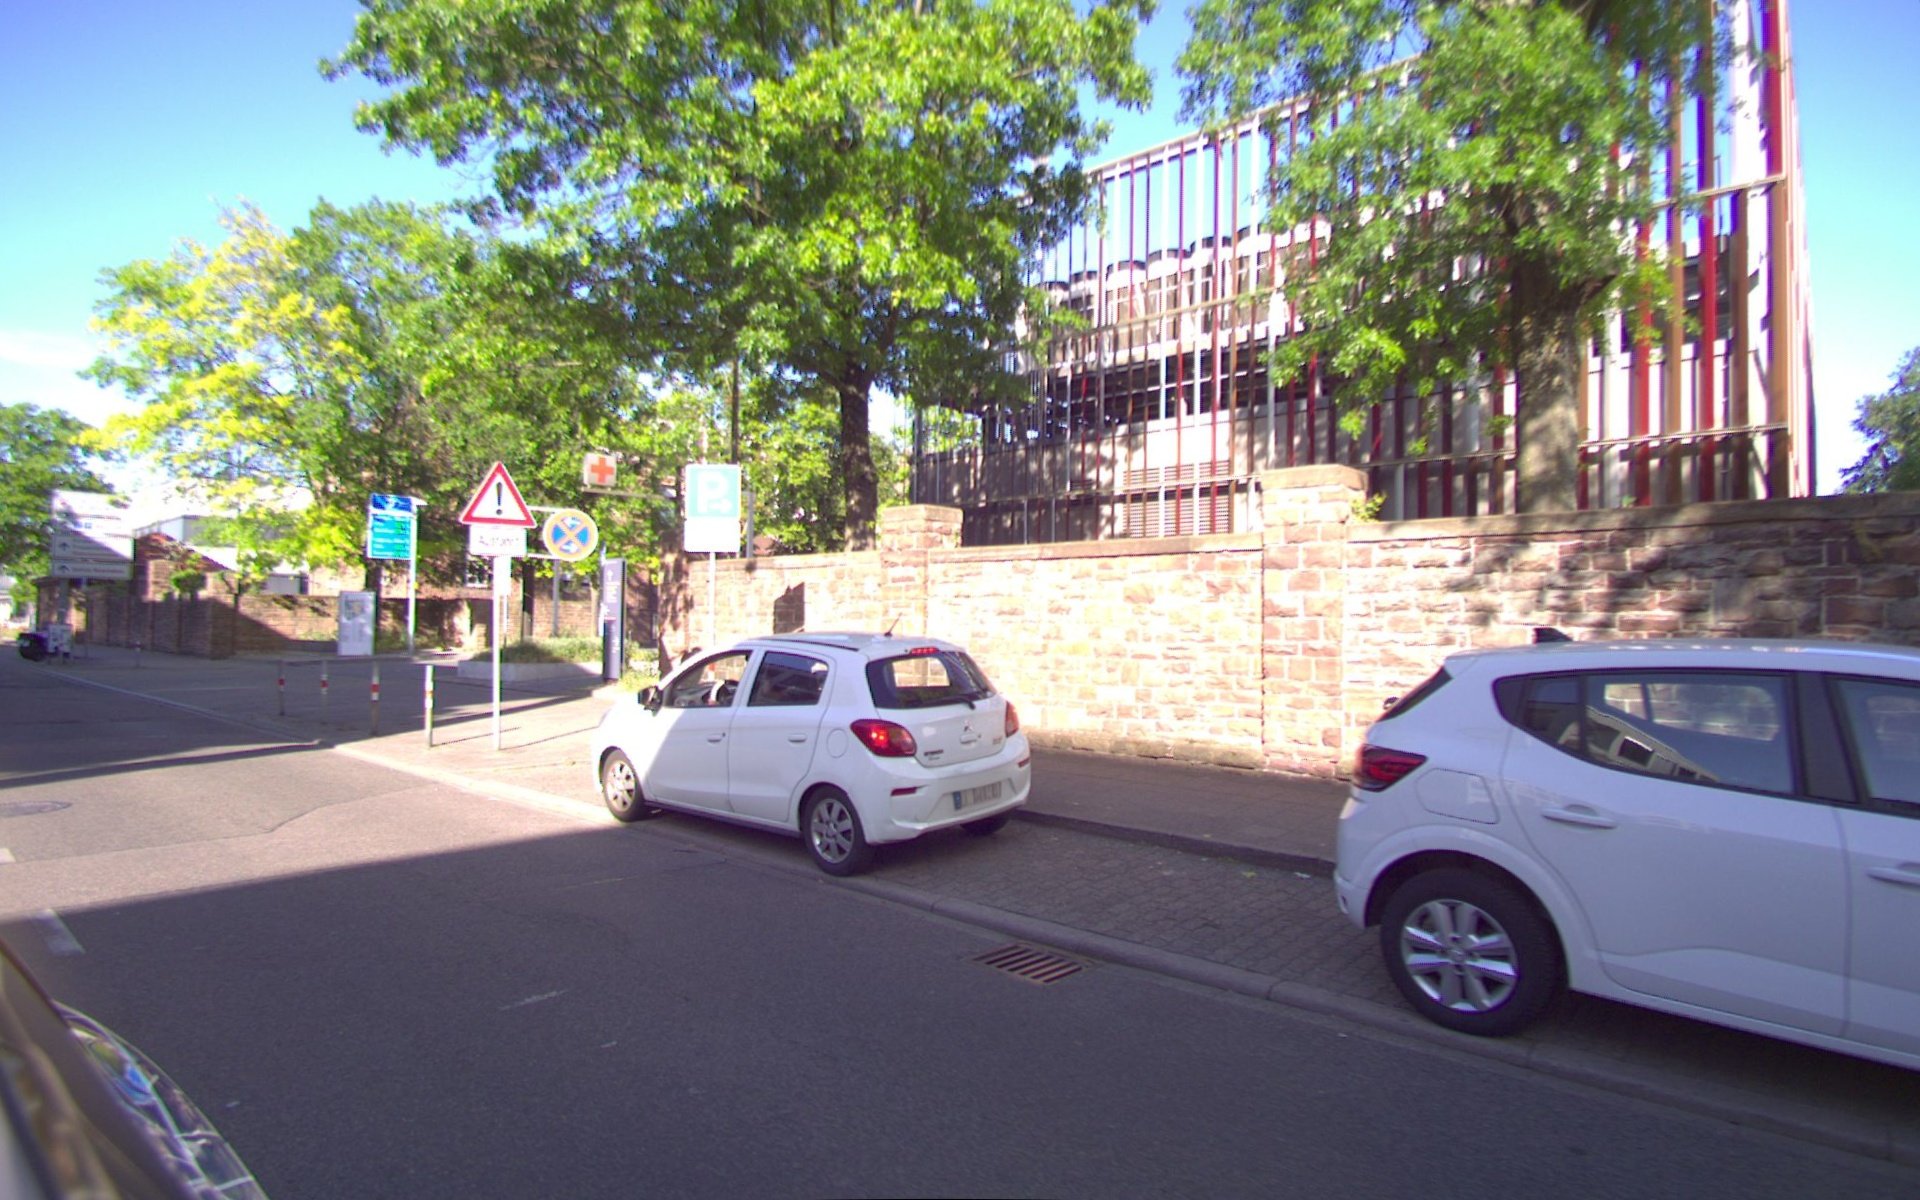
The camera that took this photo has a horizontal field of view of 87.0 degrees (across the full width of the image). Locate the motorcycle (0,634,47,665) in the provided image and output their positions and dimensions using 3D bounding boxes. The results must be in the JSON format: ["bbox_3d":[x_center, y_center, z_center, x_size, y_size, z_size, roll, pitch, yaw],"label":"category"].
[{"bbox_3d":[-34.295,1.793,37.016,0.523,1.047,2.097,-1,-1,-18],"label":"motorcycle"}]

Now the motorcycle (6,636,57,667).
[{"bbox_3d":[-33.223,1.818,36.249,0.523,1.047,2.097,-1,-1,-18],"label":"motorcycle"}]

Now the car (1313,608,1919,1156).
[{"bbox_3d":[3.421,0.817,3.422,3.848,1.522,1.659,-1,1,42],"label":"car"}]

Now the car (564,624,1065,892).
[{"bbox_3d":[-1.231,0.929,7.482,3.748,1.412,1.558,-1,1,41],"label":"car"}]

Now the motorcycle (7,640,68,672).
[{"bbox_3d":[-31.119,1.871,34.179,0.591,1.040,2.133,0,-2,-15],"label":"motorcycle"}]
